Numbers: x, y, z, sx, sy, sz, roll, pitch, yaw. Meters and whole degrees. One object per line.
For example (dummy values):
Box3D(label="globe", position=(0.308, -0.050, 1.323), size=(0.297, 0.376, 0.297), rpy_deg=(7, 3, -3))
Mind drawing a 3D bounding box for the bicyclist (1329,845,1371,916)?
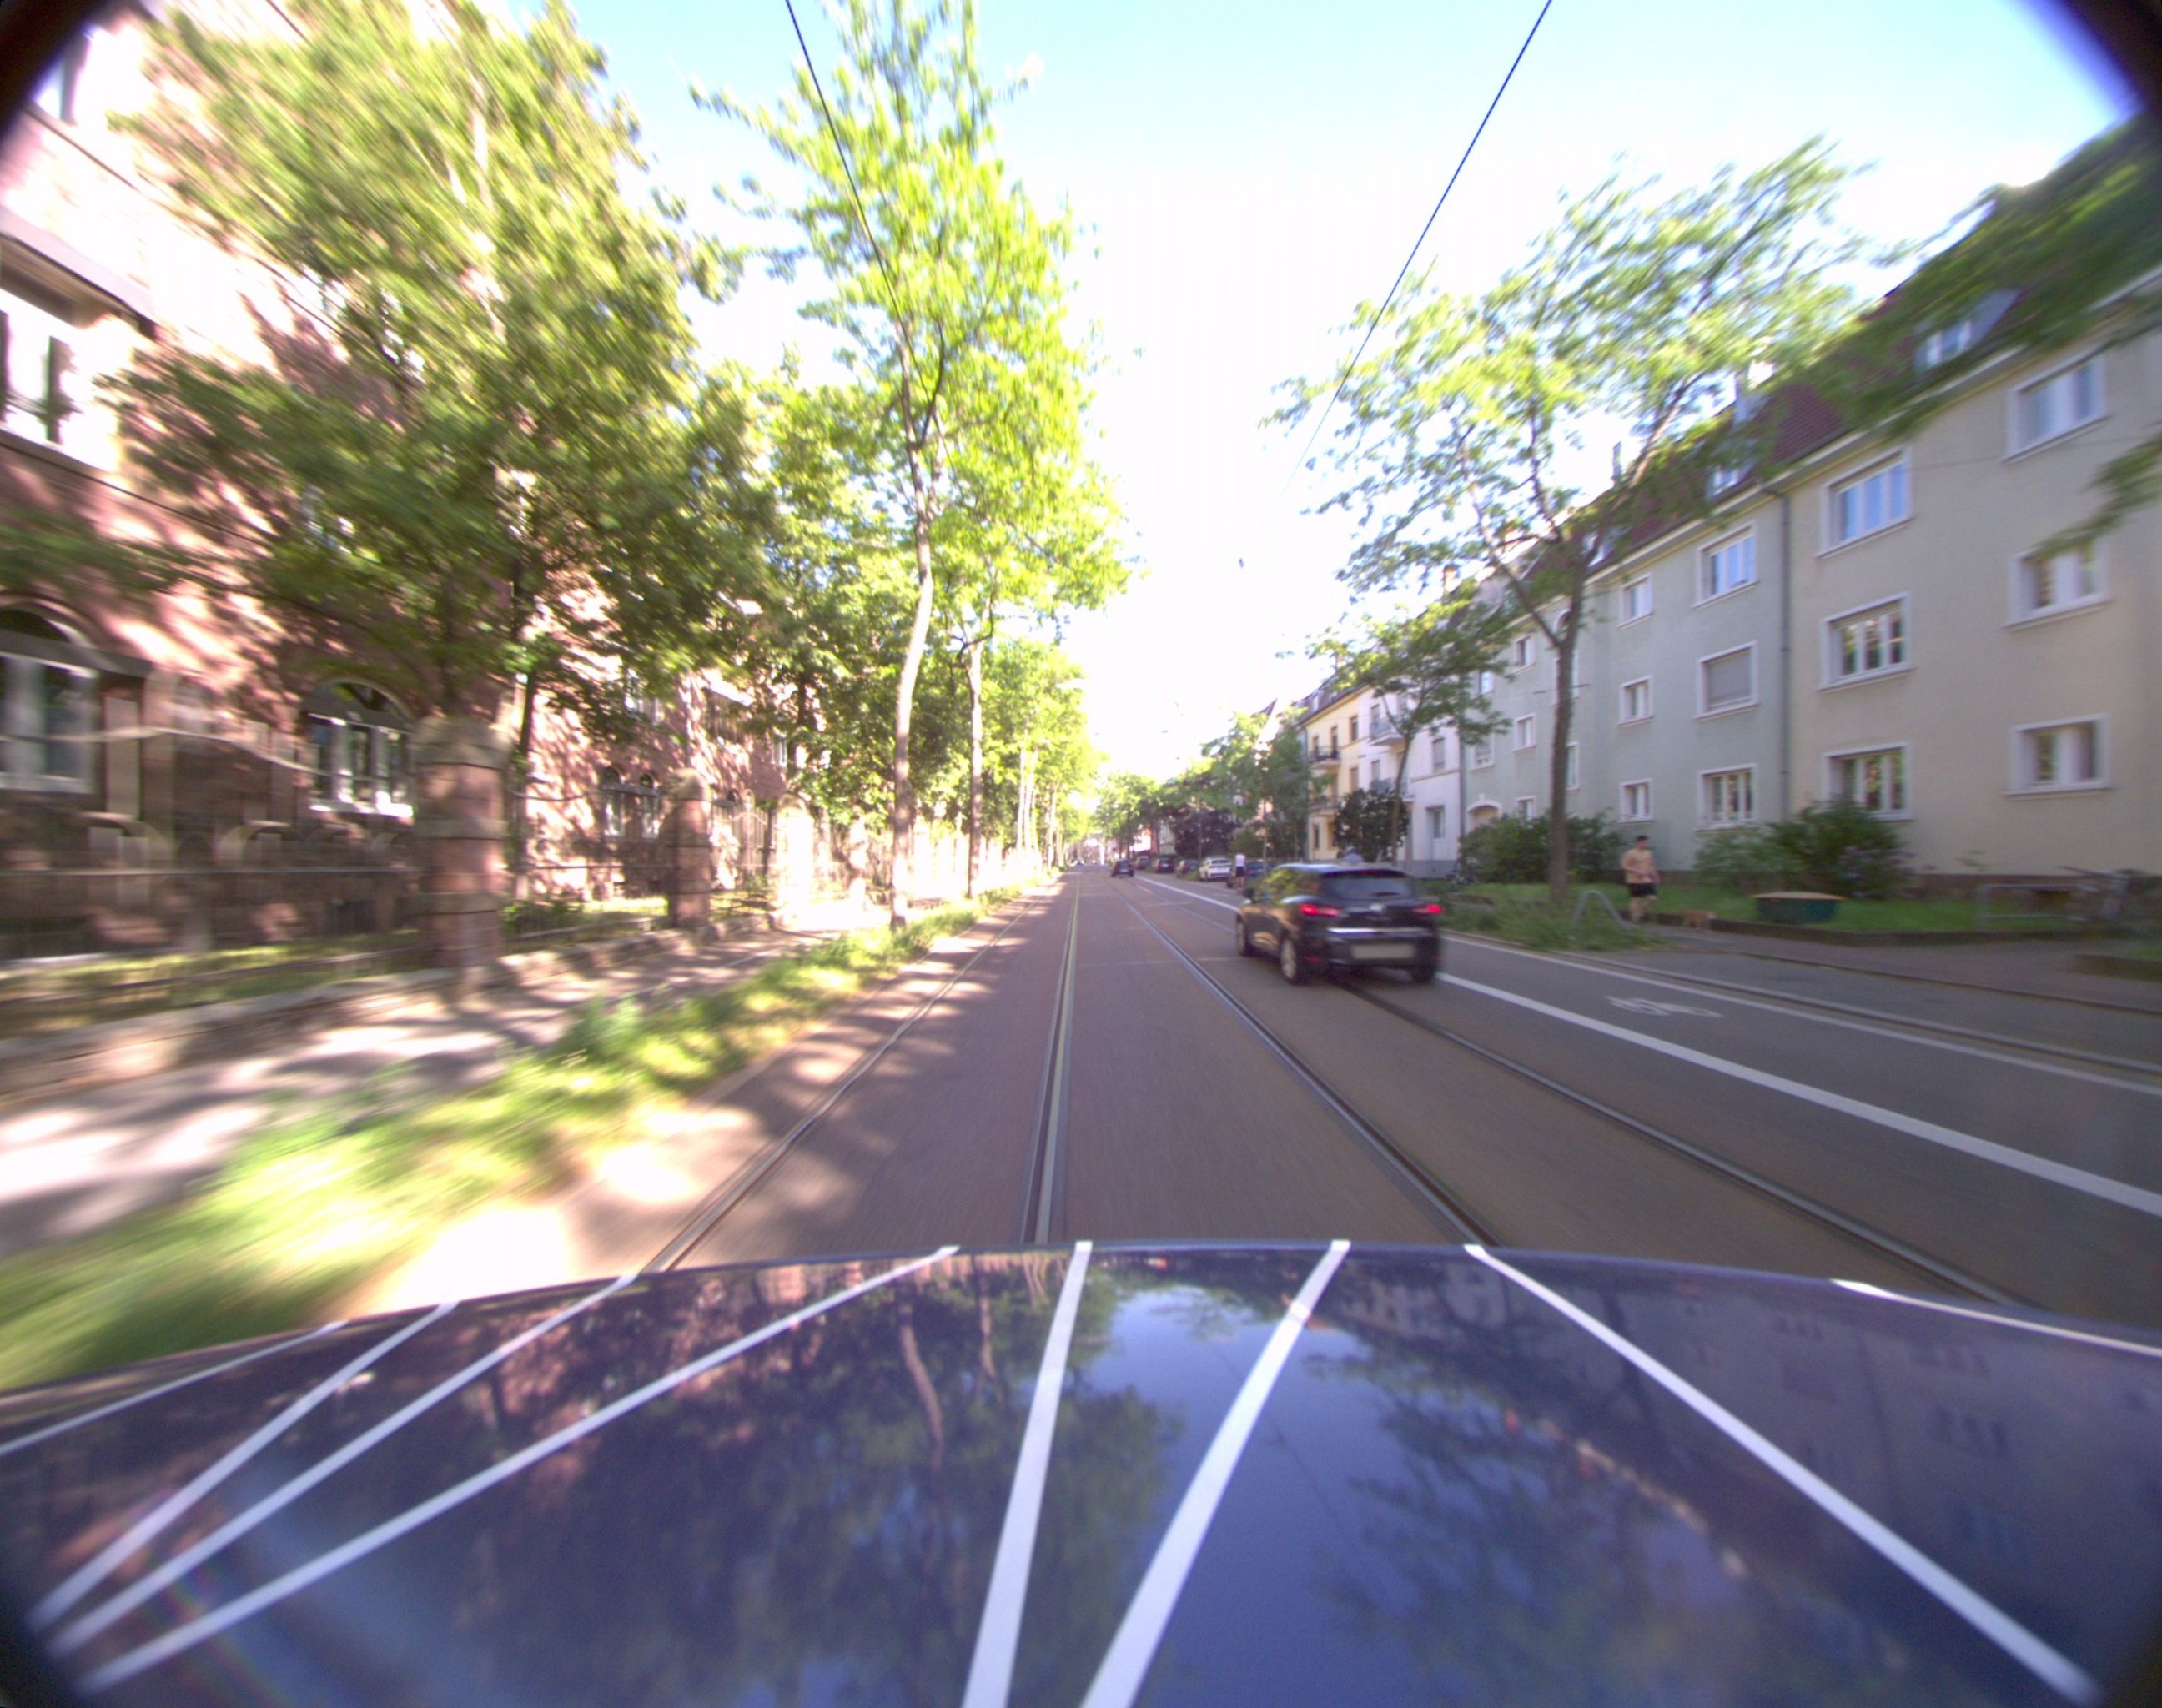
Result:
Box3D(label="bicyclist", position=(6.371, 0.607, 18.035), size=(0.627, 1.629, 0.940), rpy_deg=(2, 1, 0))

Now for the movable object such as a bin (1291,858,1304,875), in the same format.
Box3D(label="movable object such as a bin", position=(12.755, 0.721, 44.708), size=(0.561, 0.970, 0.733), rpy_deg=(-3, 0, 3))

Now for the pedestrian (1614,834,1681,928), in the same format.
Box3D(label="pedestrian", position=(11.053, 0.509, 14.847), size=(0.693, 1.791, 0.813), rpy_deg=(0, 1, 0))

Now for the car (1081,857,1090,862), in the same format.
Box3D(label="car", position=(1.447, 1.617, 227.059), size=(1.880, 1.390, 3.996), rpy_deg=(-4, 0, -11))

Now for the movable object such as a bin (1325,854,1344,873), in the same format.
Box3D(label="movable object such as a bin", position=(15.108, 0.564, 45.241), size=(0.846, 1.040, 0.733), rpy_deg=(-3, 0, 3))

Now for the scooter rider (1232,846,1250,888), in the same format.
Box3D(label="scooter rider", position=(6.611, 0.546, 31.443), size=(0.498, 1.690, 0.786), rpy_deg=(2, 1, 0))

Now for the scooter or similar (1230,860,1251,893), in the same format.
Box3D(label="scooter or similar", position=(6.598, 0.912, 31.441), size=(0.521, 1.290, 1.377), rpy_deg=(2, 0, 0))

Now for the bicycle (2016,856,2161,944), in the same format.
Box3D(label="bicycle", position=(15.012, 0.656, 11.173), size=(1.912, 1.171, 0.522), rpy_deg=(-3, 1, -2))

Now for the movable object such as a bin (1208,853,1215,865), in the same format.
Box3D(label="movable object such as a bin", position=(11.822, 0.470, 68.709), size=(0.542, 1.060, 0.670), rpy_deg=(-1, 1, 0))

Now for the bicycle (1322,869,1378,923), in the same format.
Box3D(label="bicycle", position=(6.356, 0.963, 18.069), size=(0.628, 1.170, 1.913), rpy_deg=(2, 0, 0))

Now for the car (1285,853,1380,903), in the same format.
Box3D(label="car", position=(8.422, 0.753, 25.834), size=(1.822, 1.476, 4.206), rpy_deg=(-2, 0, 0))

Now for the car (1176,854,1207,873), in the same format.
Box3D(label="car", position=(8.757, 0.712, 60.599), size=(1.710, 1.398, 4.333), rpy_deg=(-2, 0, -1))

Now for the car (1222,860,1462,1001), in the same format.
Box3D(label="car", position=(3.156, 0.825, 10.107), size=(1.704, 1.431, 4.071), rpy_deg=(-1, 0, -1))

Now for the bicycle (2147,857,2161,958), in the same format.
Box3D(label="bicycle", position=(13.565, 0.581, 8.745), size=(1.912, 1.171, 0.522), rpy_deg=(-3, 1, -2))

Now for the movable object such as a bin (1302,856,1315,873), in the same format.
Box3D(label="movable object such as a bin", position=(13.379, 0.621, 44.725), size=(0.561, 0.970, 0.733), rpy_deg=(-3, 0, 3))

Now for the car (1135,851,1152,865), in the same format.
Box3D(label="car", position=(8.640, 0.492, 105.391), size=(1.875, 1.812, 4.770), rpy_deg=(-2, 0, -2))

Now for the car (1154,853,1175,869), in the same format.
Box3D(label="car", position=(8.742, 0.702, 79.814), size=(1.781, 1.532, 4.485), rpy_deg=(-2, 0, 0))

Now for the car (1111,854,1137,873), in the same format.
Box3D(label="car", position=(3.505, 0.758, 62.519), size=(1.762, 1.431, 4.523), rpy_deg=(-1, 0, -1))

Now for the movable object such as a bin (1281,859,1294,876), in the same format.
Box3D(label="movable object such as a bin", position=(12.176, 0.798, 44.745), size=(0.561, 0.970, 0.733), rpy_deg=(-3, 0, 3))

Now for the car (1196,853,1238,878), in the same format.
Box3D(label="car", position=(8.796, 0.737, 49.425), size=(1.822, 1.502, 4.370), rpy_deg=(-2, 0, -1))

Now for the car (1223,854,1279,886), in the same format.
Box3D(label="car", position=(8.596, 0.776, 38.755), size=(1.762, 1.502, 4.438), rpy_deg=(-2, 0, -1))
